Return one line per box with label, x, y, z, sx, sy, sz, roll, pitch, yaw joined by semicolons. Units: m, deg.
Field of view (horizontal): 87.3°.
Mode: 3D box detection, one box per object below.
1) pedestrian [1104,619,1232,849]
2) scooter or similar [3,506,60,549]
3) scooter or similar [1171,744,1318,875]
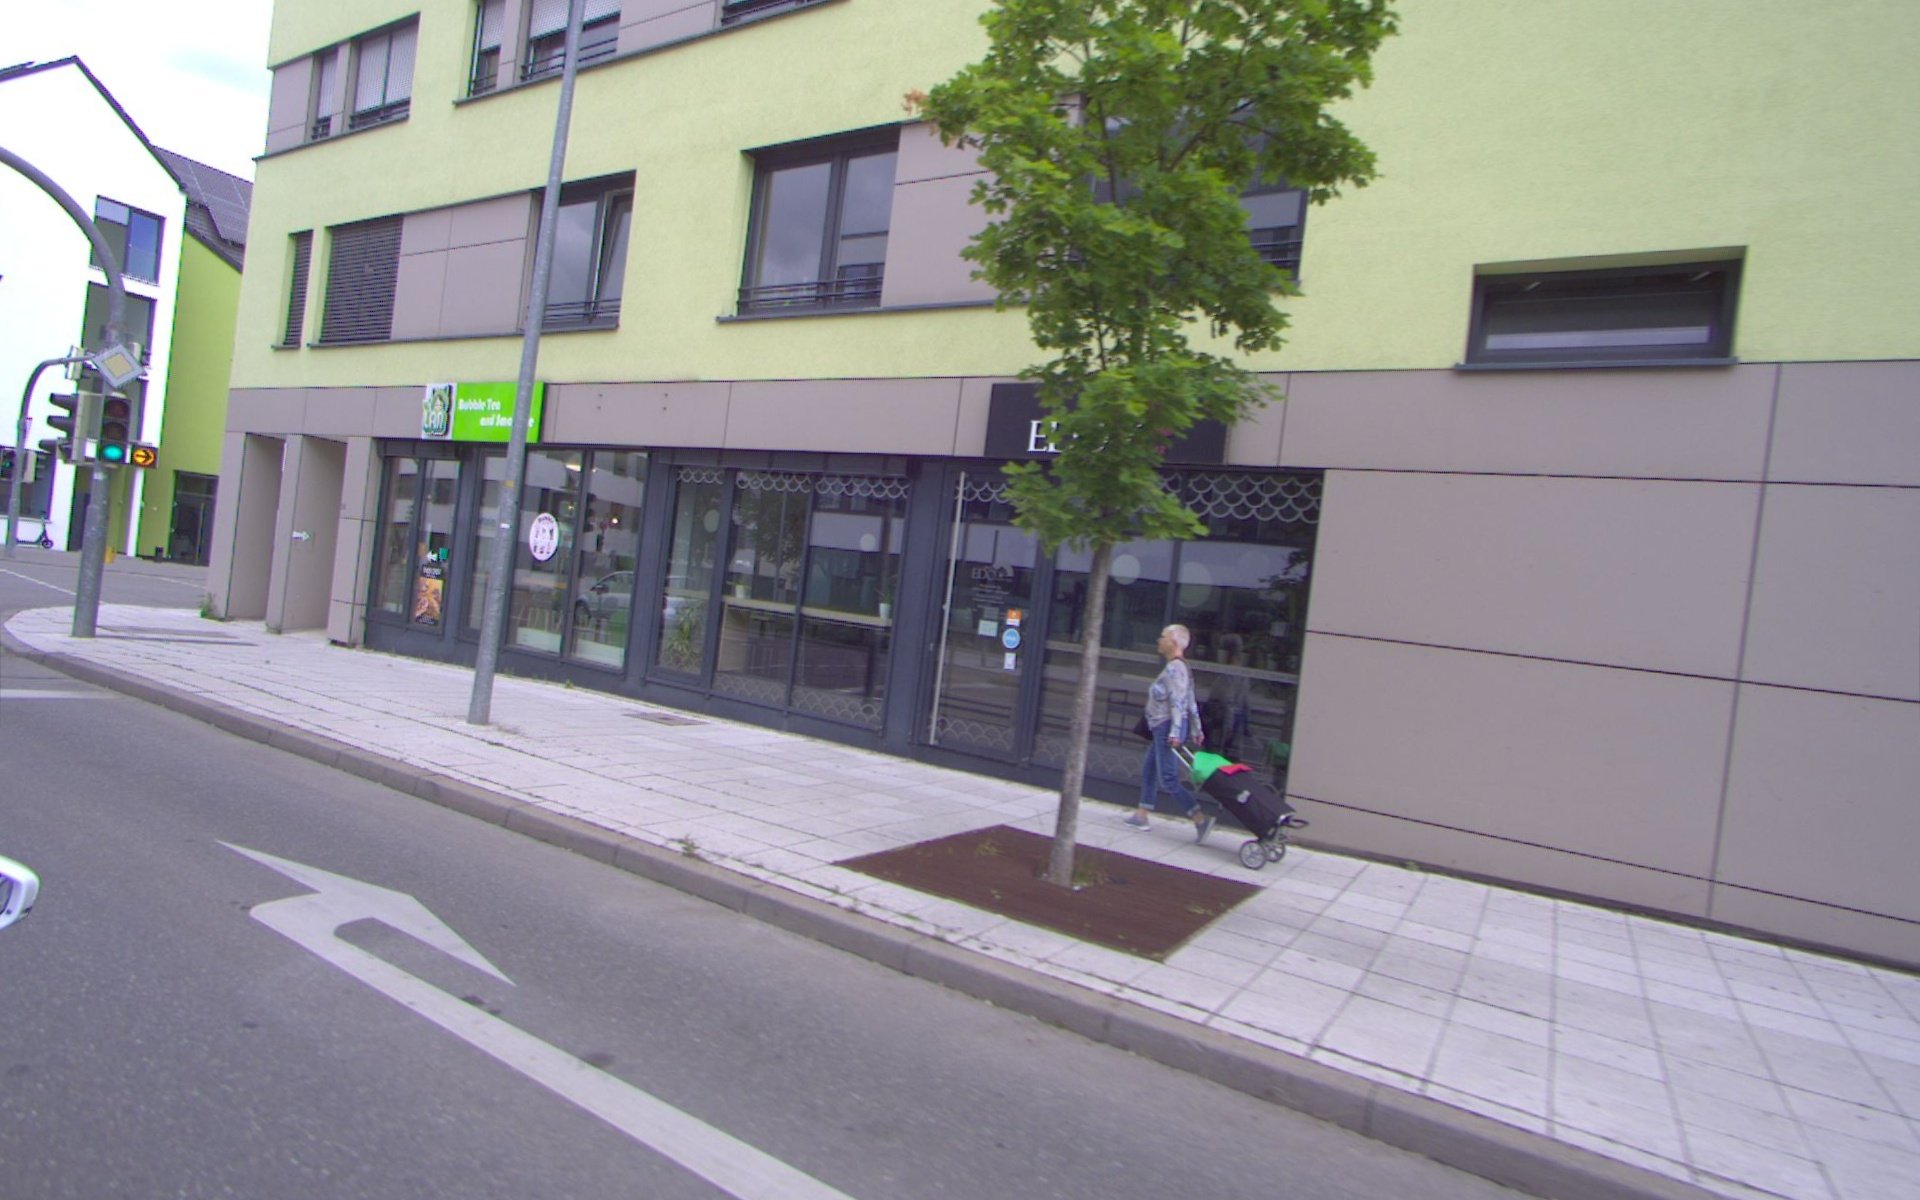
pedestrian;1.610;0.992;7.737;0.593;1.614;0.696;8;3;31
scooter or similar;-31.048;-2.417;33.650;0.400;1.250;1.232;8;-1;32
scooter or similar;2.026;1.457;7.149;0.810;0.681;0.592;8;2;31
